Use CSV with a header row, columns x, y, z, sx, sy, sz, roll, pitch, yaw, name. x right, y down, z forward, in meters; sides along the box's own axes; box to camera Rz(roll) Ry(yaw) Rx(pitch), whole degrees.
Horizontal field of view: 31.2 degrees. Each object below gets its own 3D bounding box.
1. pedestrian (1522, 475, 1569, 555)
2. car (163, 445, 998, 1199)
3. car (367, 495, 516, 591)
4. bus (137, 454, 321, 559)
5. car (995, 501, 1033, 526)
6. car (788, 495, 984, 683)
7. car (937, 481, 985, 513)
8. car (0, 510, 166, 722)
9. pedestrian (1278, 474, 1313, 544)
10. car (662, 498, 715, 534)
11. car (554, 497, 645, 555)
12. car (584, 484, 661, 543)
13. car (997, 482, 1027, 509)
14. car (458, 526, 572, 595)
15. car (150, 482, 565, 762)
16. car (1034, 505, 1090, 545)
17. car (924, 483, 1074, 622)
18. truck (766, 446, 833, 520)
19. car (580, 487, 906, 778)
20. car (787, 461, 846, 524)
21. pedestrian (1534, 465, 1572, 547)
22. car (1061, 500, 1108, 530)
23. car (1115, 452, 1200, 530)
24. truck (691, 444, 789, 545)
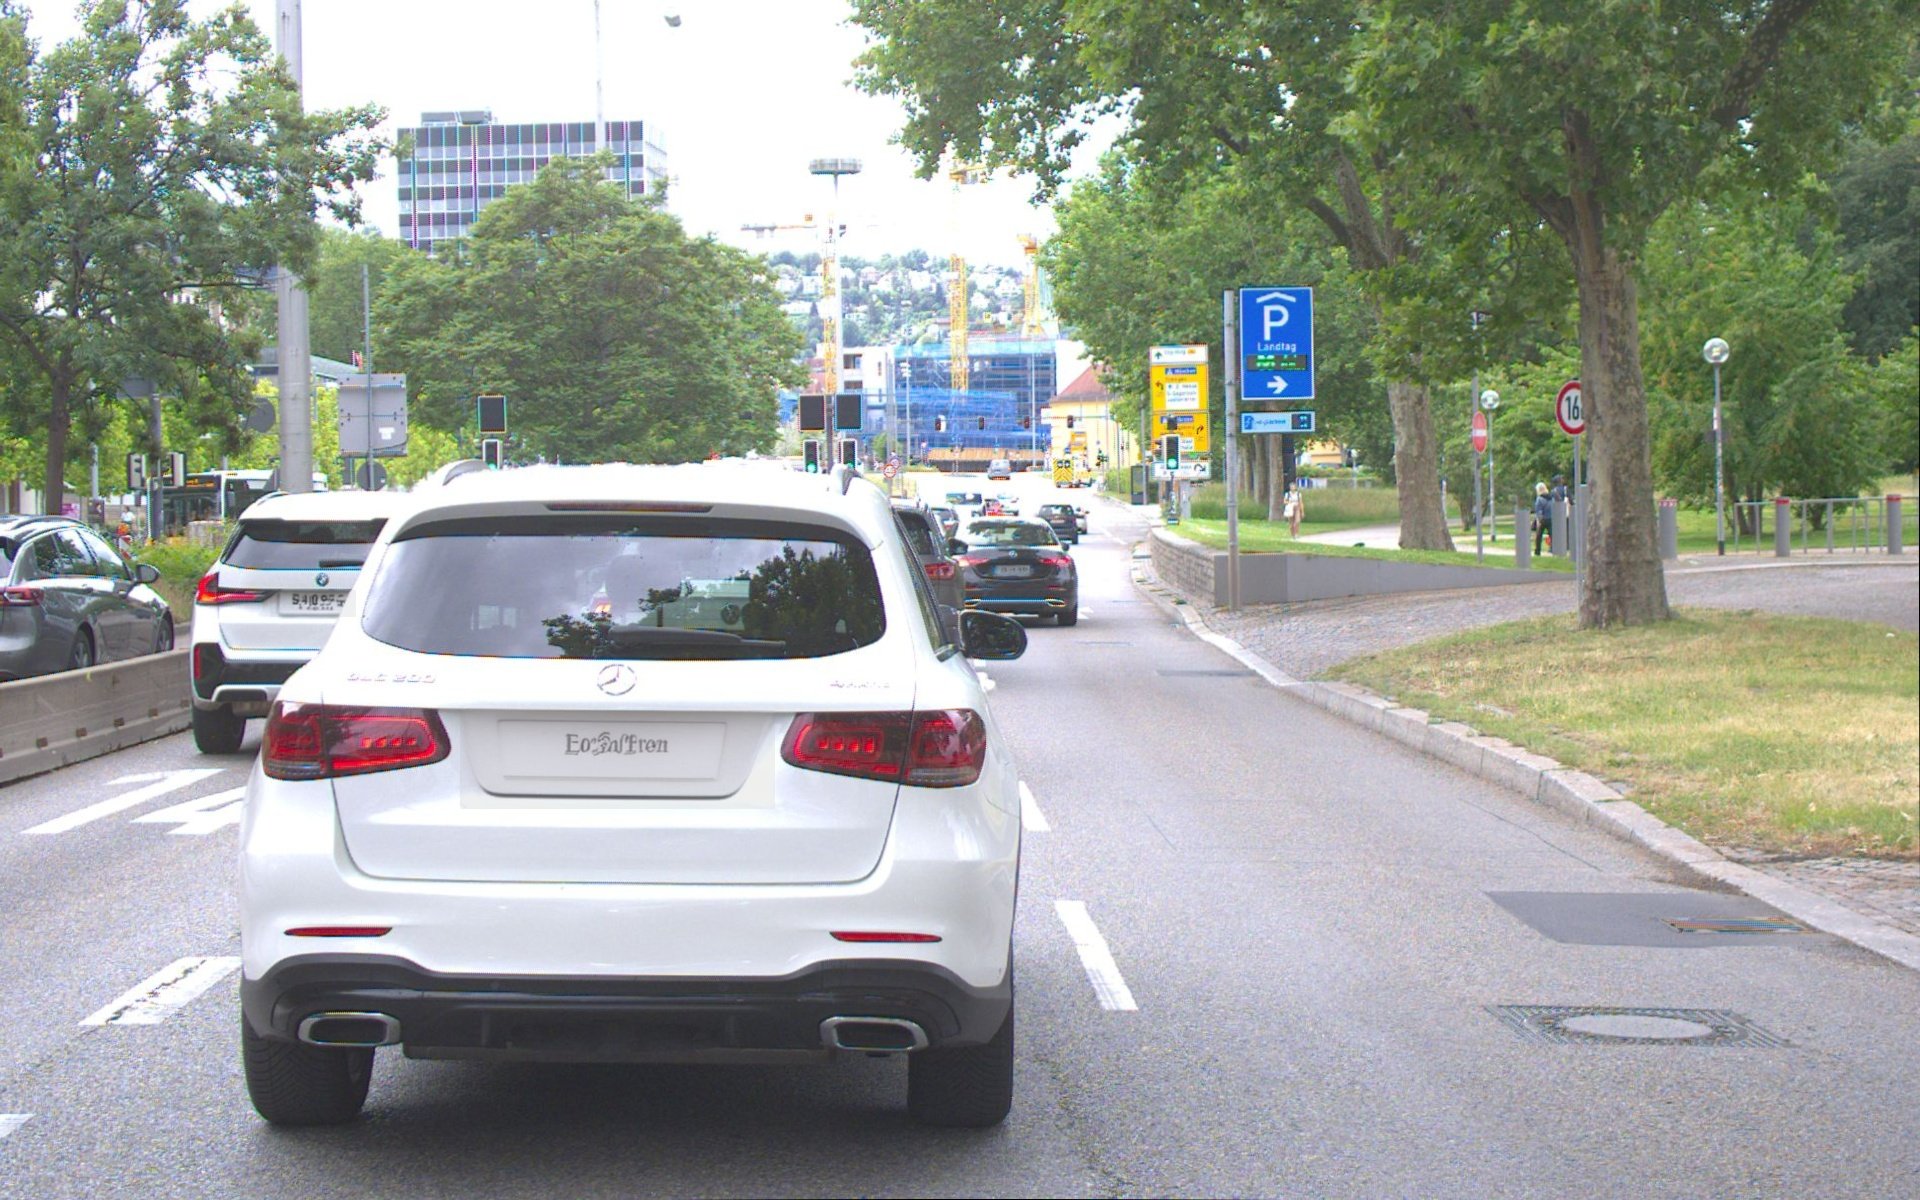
x,y,z,sx,sy,sz,roll,pitch,yaw,name
11.756,-1.706,68.997,0.661,1.605,0.640,-2,2,-32,pedestrian
-0.842,0.427,9.681,1.788,1.619,4.438,1,2,0,car
-8.027,-0.913,53.469,1.776,1.415,4.001,-1,2,-1,car
-23.880,-3.090,113.212,3.667,3.194,14.276,-1,2,-3,bus
2.792,-4.505,179.172,1.947,1.315,4.017,0,1,0,car
-0.731,-0.137,31.610,1.659,1.633,3.548,0,1,-4,car
0.040,-4.264,143.068,1.947,1.315,4.017,0,1,0,car
-7.048,0.069,25.116,1.661,1.431,3.961,0,1,-1,car
9.716,-2.637,99.564,0.761,2.006,0.697,0,2,35,pedestrian
-10.003,-3.097,126.653,1.659,1.315,3.547,0,1,0,car
-8.425,-1.738,80.554,1.659,1.315,3.547,0,1,2,car
-8.846,-2.266,90.257,1.659,1.508,3.548,-1,2,0,car
3.217,-6.509,213.937,1.758,1.663,4.168,-1,2,-1,car
-8.664,-0.790,67.121,1.659,1.315,3.547,0,1,2,car
-3.775,0.082,22.375,1.851,1.622,4.907,0,1,0,car
3.760,-2.773,127.027,1.947,1.423,4.017,0,1,0,car
0.474,-0.660,45.670,1.825,1.746,4.001,-1,2,-1,car
-6.730,-4.889,144.794,2.691,2.981,5.638,1,1,-2,truck
-1.374,0.138,20.864,1.795,1.603,3.756,0,1,-5,car
-5.715,-4.273,137.098,1.993,2.467,4.000,-1,2,2,car
12.684,-2.012,73.509,0.759,1.719,0.699,-1,2,7,pedestrian
5.578,-3.817,154.260,1.947,1.315,4.017,0,1,0,car
5.167,-2.839,90.344,1.993,2.007,4.000,0,1,0,car
-6.460,-3.107,101.709,2.620,2.851,7.079,1,2,-2,truck
